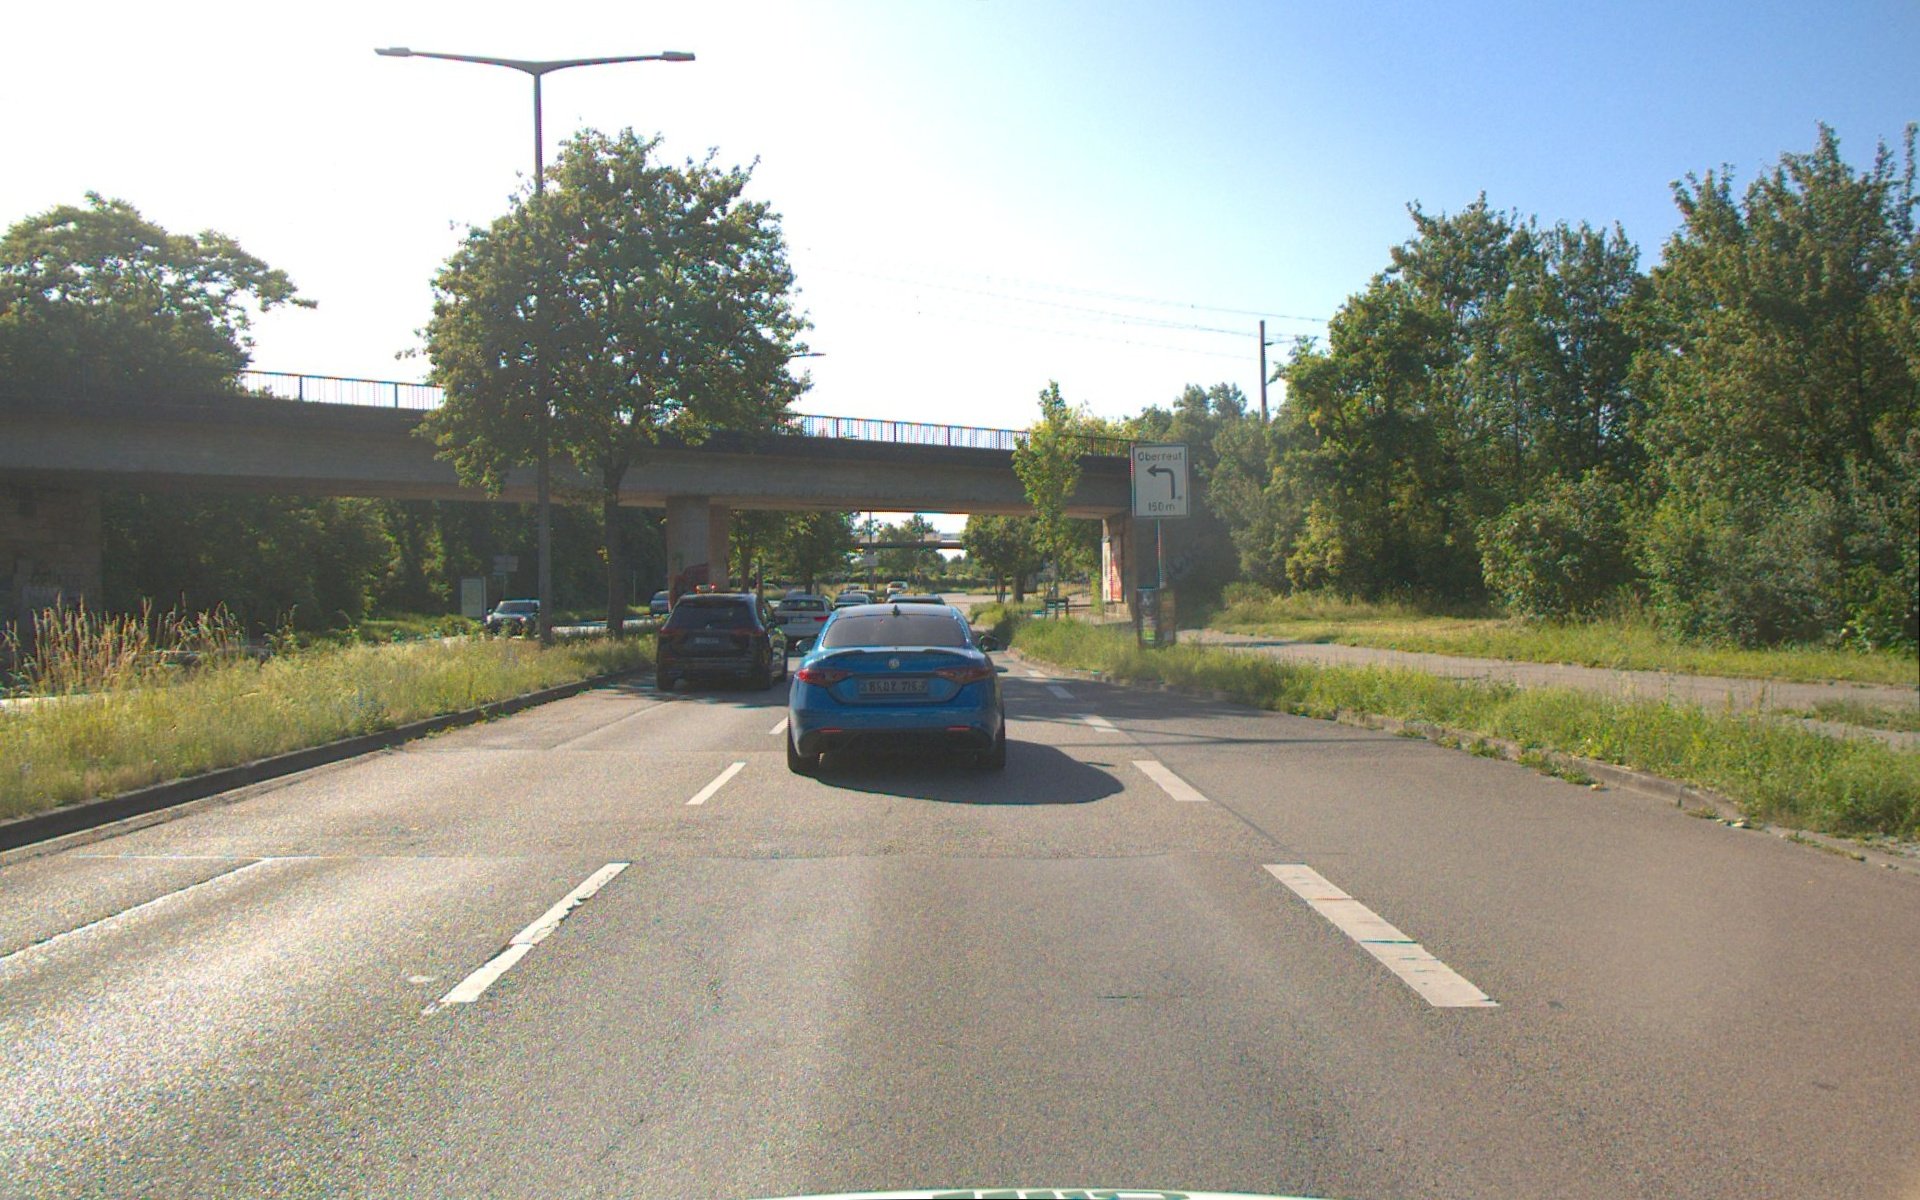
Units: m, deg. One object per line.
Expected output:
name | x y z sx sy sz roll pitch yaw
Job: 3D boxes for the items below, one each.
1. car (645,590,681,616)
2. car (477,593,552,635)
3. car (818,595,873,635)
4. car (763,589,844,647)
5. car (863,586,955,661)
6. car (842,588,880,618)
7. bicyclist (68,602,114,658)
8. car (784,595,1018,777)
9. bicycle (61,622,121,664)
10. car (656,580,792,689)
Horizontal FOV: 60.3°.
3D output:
car | -20.037 0.223 111.714 1.694 1.645 4.179 -2 0 -1
car | -16.793 0.514 62.544 1.779 1.467 4.088 -1 0 -1
car | -4.336 0.563 63.389 1.845 1.479 4.525 1 0 -1
car | -4.244 0.472 45.436 1.845 1.479 4.525 1 0 -1
car | -1.060 0.478 35.594 1.845 1.479 4.525 1 0 -1
car | -4.908 0.138 82.399 1.743 1.479 4.181 0 0 -1
bicyclist | -22.751 0.773 43.302 0.666 1.426 1.026 1 0 -1
car | -0.502 0.689 15.278 1.845 1.431 4.223 1 0 -1
bicycle | -22.759 1.128 43.342 0.669 1.048 1.714 1 0 -1
car | -3.773 0.528 27.036 1.673 1.626 4.223 1 0 -1
